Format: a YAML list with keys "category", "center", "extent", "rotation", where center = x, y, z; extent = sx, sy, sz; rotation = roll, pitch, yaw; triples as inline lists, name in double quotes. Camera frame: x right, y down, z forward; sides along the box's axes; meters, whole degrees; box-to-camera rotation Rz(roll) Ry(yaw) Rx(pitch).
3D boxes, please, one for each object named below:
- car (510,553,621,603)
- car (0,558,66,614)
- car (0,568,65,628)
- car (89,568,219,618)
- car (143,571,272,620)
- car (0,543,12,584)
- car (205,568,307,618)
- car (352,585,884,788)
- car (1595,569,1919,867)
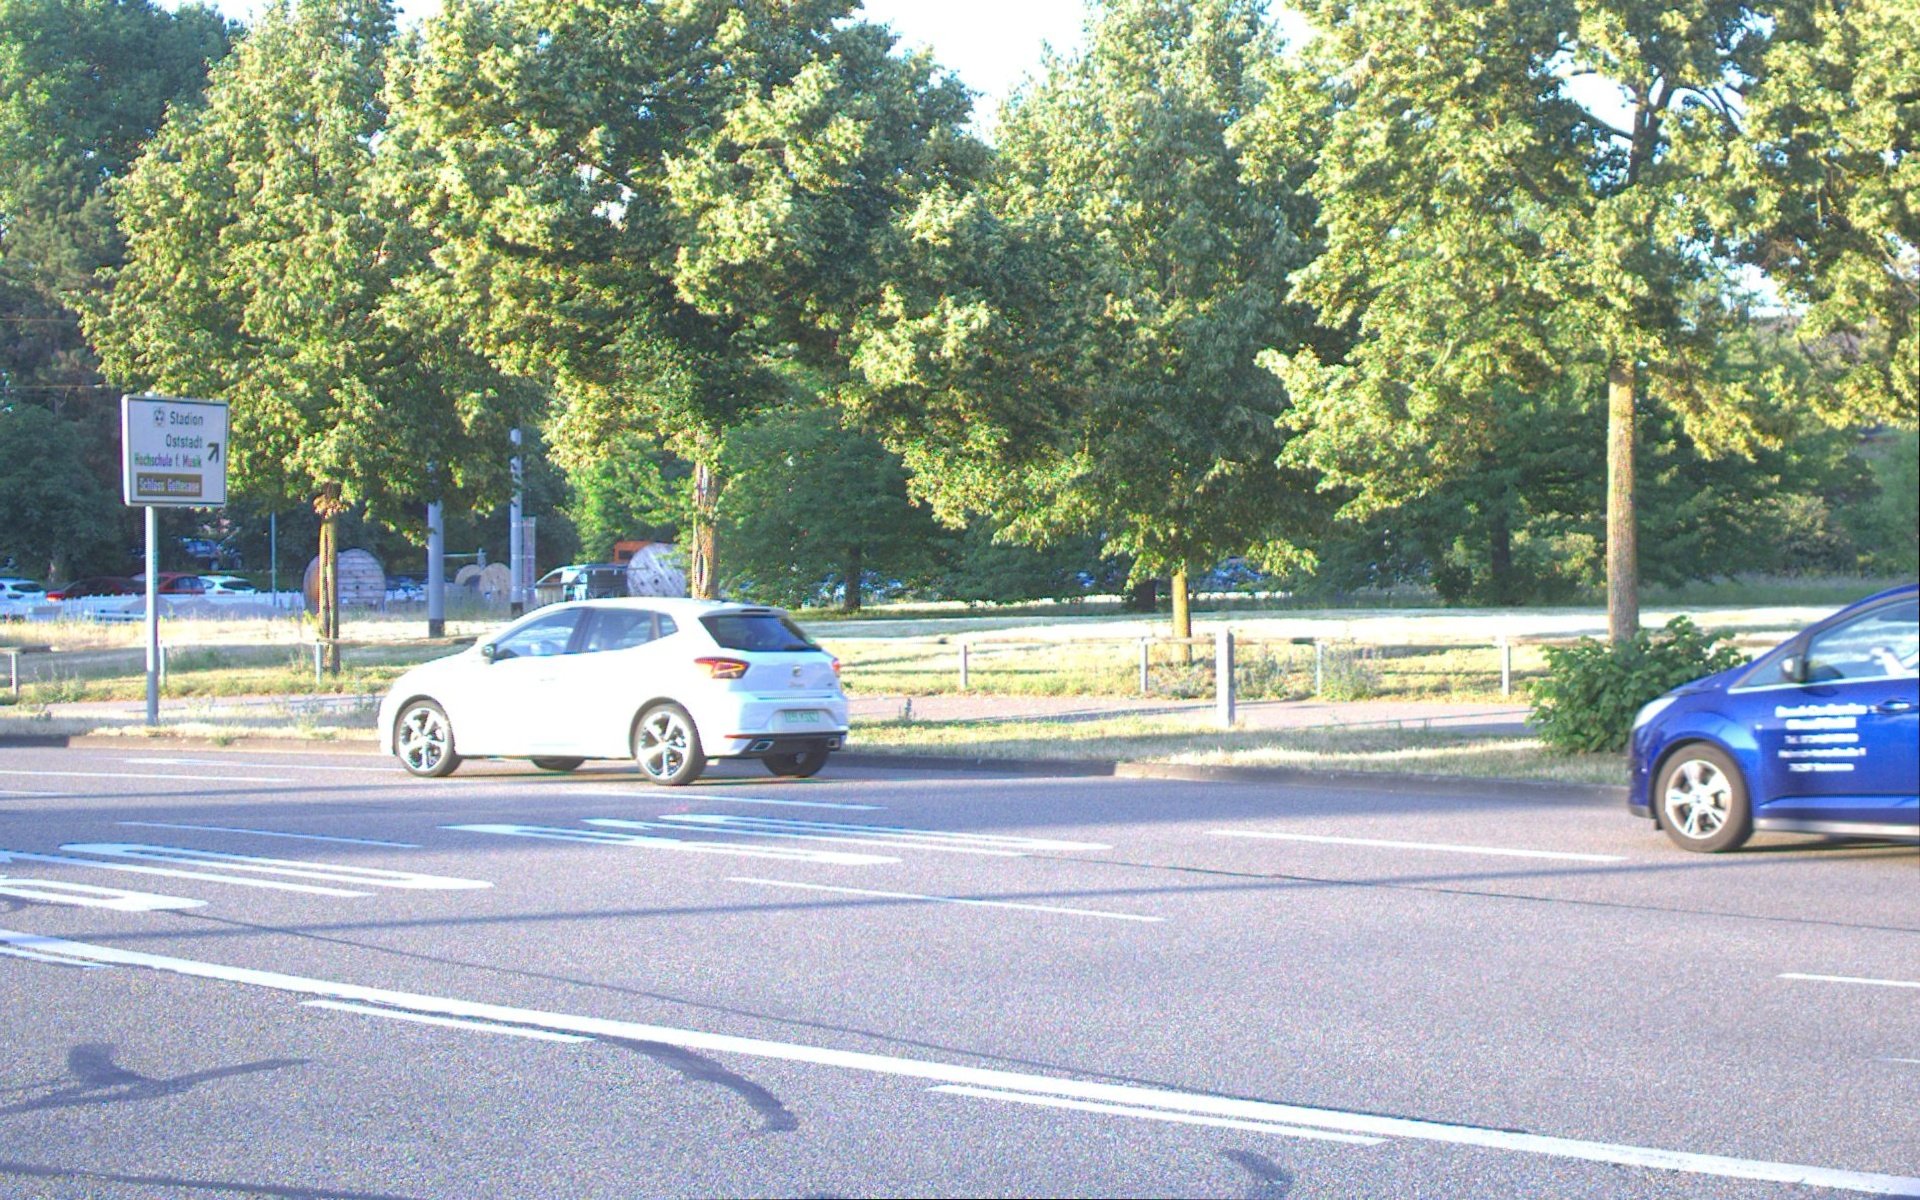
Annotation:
- category: "car"
  center: [-13.202, -0.750, 114.870]
  extent: [1.734, 1.612, 3.998]
  rotation: [-1, 1, -41]
- category: "car"
  center: [-35.179, -0.520, 125.802]
  extent: [4.582, 2.007, 2.001]
  rotation: [-1, 1, -8]
- category: "car"
  center: [-33.120, -0.065, 117.665]
  extent: [4.582, 2.007, 2.001]
  rotation: [-1, 1, -8]
- category: "car"
  center: [-26.748, -0.234, 114.084]
  extent: [3.994, 1.598, 1.996]
  rotation: [0, 1, 33]
- category: "car"
  center: [-25.344, -0.178, 115.814]
  extent: [3.994, 1.598, 1.996]
  rotation: [0, 1, 33]
- category: "car"
  center: [-42.380, -1.542, 145.357]
  extent: [3.988, 1.700, 2.000]
  rotation: [0, 1, 7]
- category: "car"
  center: [-26.392, -0.273, 128.762]
  extent: [1.994, 1.746, 4.597]
  rotation: [-1, 2, -37]
- category: "car"
  center: [-2.758, 0.631, 27.429]
  extent: [3.966, 1.449, 1.864]
  rotation: [0, 2, 36]
- category: "car"
  center: [5.756, 0.628, 18.933]
  extent: [1.910, 1.578, 4.179]
  rotation: [0, 1, -40]
